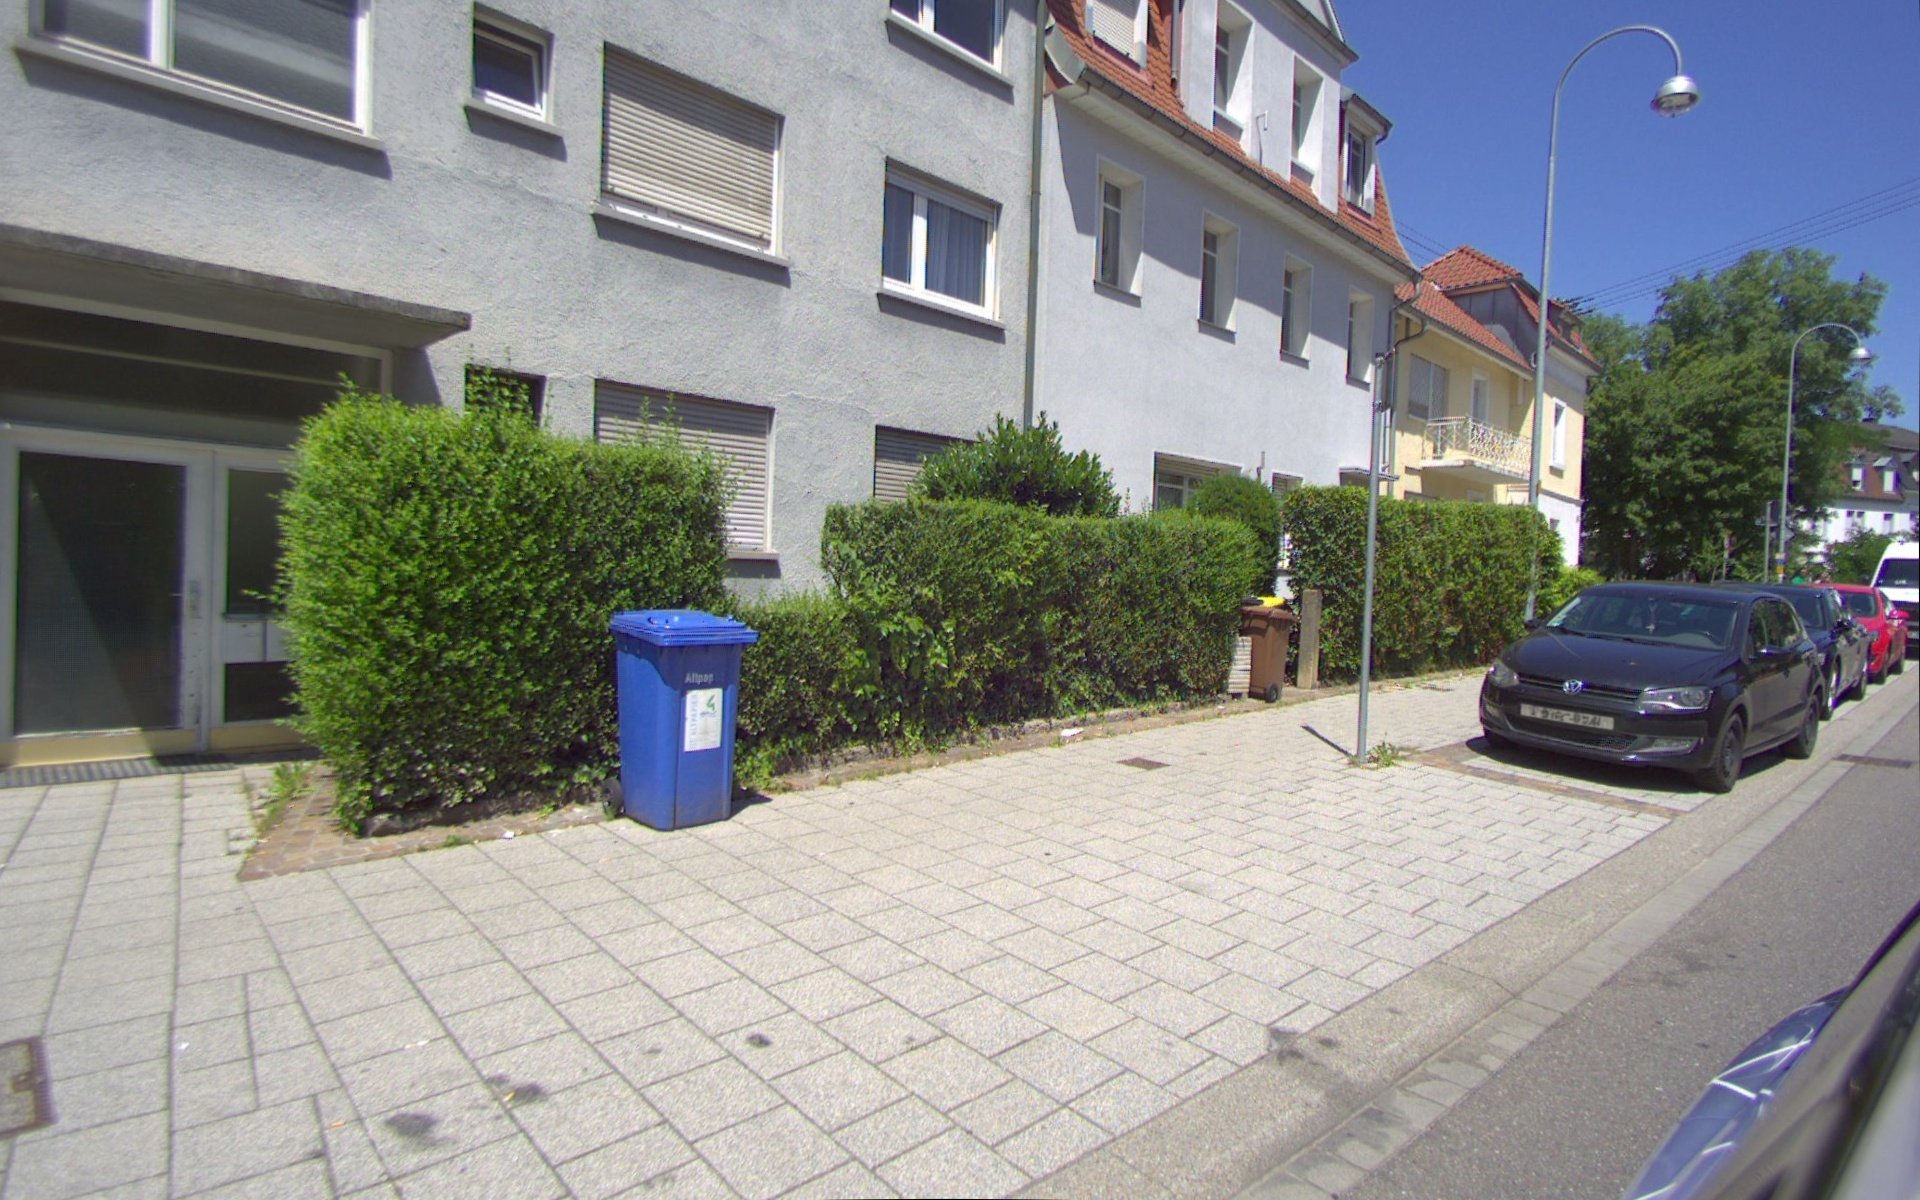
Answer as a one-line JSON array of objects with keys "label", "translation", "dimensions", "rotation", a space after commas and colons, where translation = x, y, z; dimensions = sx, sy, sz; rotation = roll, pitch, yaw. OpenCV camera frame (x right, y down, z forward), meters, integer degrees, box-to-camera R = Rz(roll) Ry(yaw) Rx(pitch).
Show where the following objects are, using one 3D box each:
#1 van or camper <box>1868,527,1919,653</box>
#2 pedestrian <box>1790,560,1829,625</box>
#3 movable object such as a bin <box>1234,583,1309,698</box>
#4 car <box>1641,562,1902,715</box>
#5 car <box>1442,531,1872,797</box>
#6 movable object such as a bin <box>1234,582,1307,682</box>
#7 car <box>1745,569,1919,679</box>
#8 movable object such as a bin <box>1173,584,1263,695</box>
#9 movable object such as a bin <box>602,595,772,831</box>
[{"label": "van or camper", "translation": [21.620, -0.223, 21.948], "dimensions": [6.071, 2.496, 2.112], "rotation": [-1, 5, -42]}, {"label": "pedestrian", "translation": [23.401, -0.222, 27.891], "dimensions": [0.517, 1.726, 0.796], "rotation": [6, 4, 28]}, {"label": "movable object such as a bin", "translation": [3.159, 0.393, 10.272], "dimensions": [0.546, 1.117, 0.488], "rotation": [0, 2, -41]}, {"label": "car", "translation": [10.431, 0.368, 12.867], "dimensions": [4.640, 1.492, 1.807], "rotation": [0, 6, -43]}, {"label": "car", "translation": [5.872, 0.376, 8.374], "dimensions": [3.927, 1.652, 1.734], "rotation": [0, 4, -38]}, {"label": "movable object such as a bin", "translation": [3.587, 0.356, 11.698], "dimensions": [0.660, 1.098, 0.500], "rotation": [0, 2, -40]}, {"label": "car", "translation": [14.593, 0.315, 16.774], "dimensions": [4.080, 1.548, 1.806], "rotation": [0, 3, -43]}, {"label": "movable object such as a bin", "translation": [2.707, 0.387, 10.607], "dimensions": [0.762, 1.098, 0.555], "rotation": [0, 2, -41]}, {"label": "movable object such as a bin", "translation": [-1.419, 0.537, 5.251], "dimensions": [0.636, 1.090, 0.594], "rotation": [0, 3, -42]}]
